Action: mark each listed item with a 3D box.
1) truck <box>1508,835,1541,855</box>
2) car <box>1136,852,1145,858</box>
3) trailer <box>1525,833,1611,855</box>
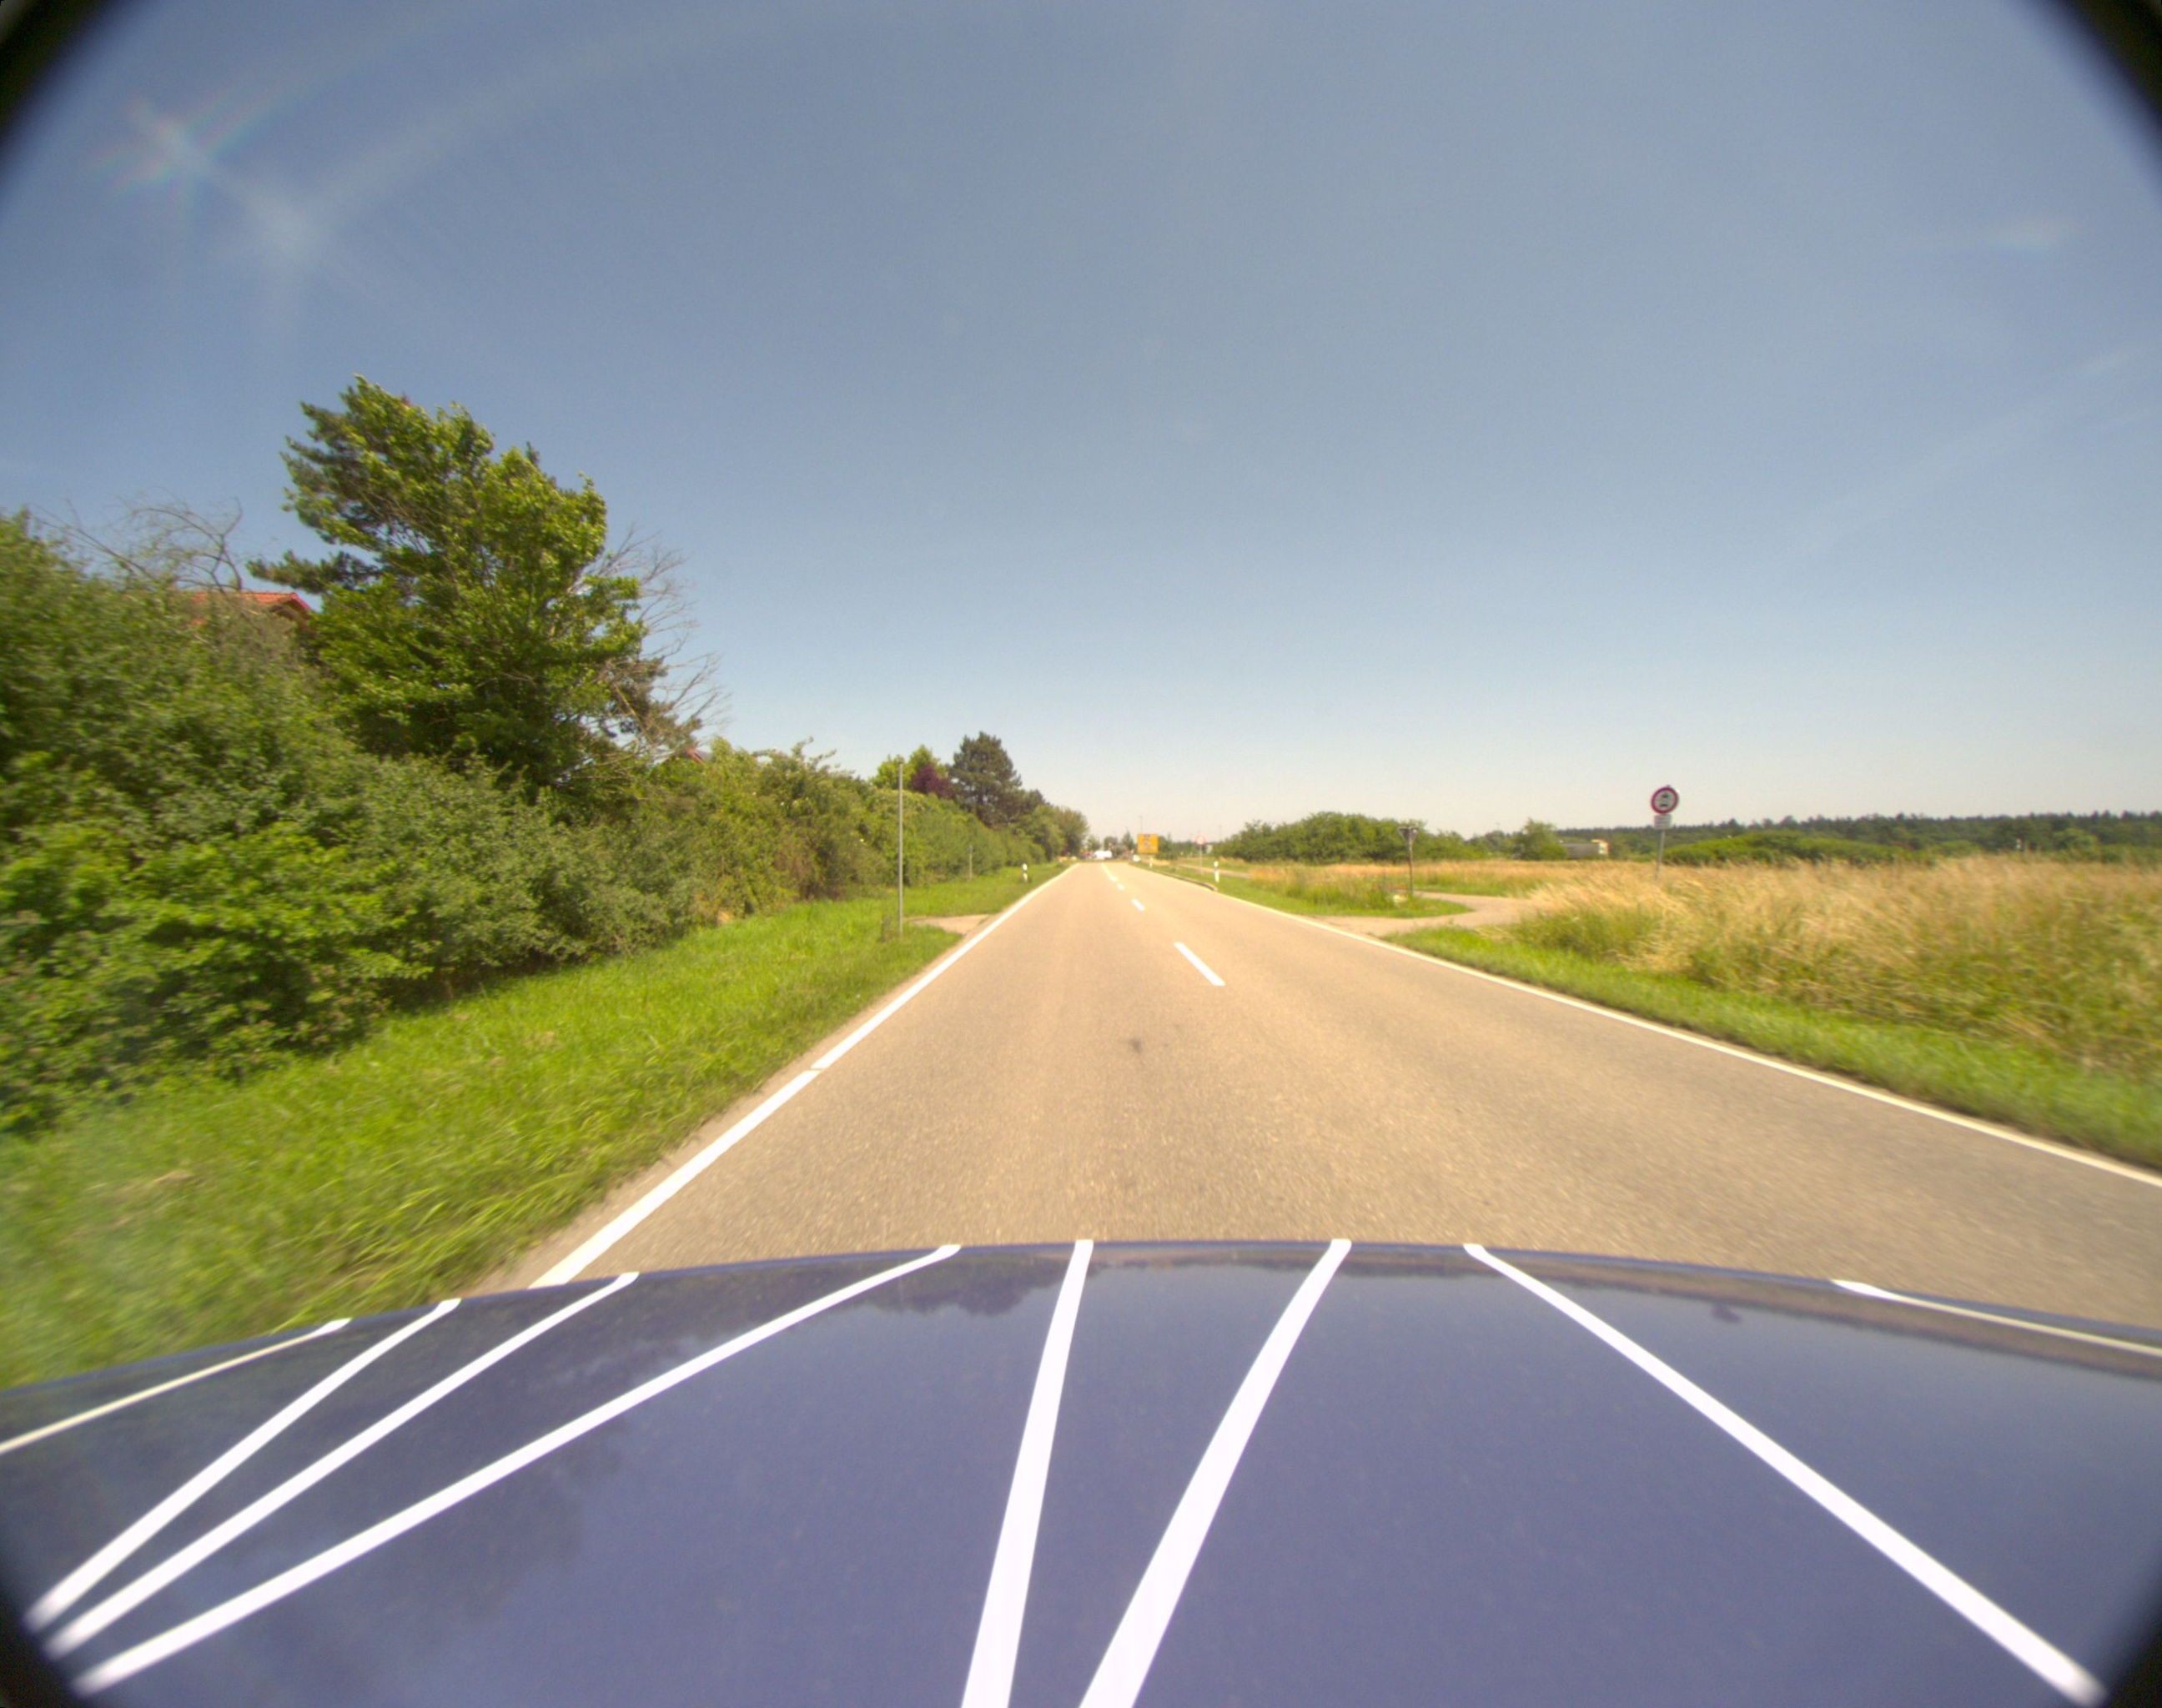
[{"bbox_3d":[85.795,-1.750,146.943,2.647,3.911,4.767,-1,1,-28],"label":"truck"},{"bbox_3d":[14.466,0.141,184.521,1.746,1.419,3.999,0,0,-1],"label":"car"},{"bbox_3d":[89.451,-1.748,140.062,2.647,3.911,13.849,-1,0,-28],"label":"trailer"}]
